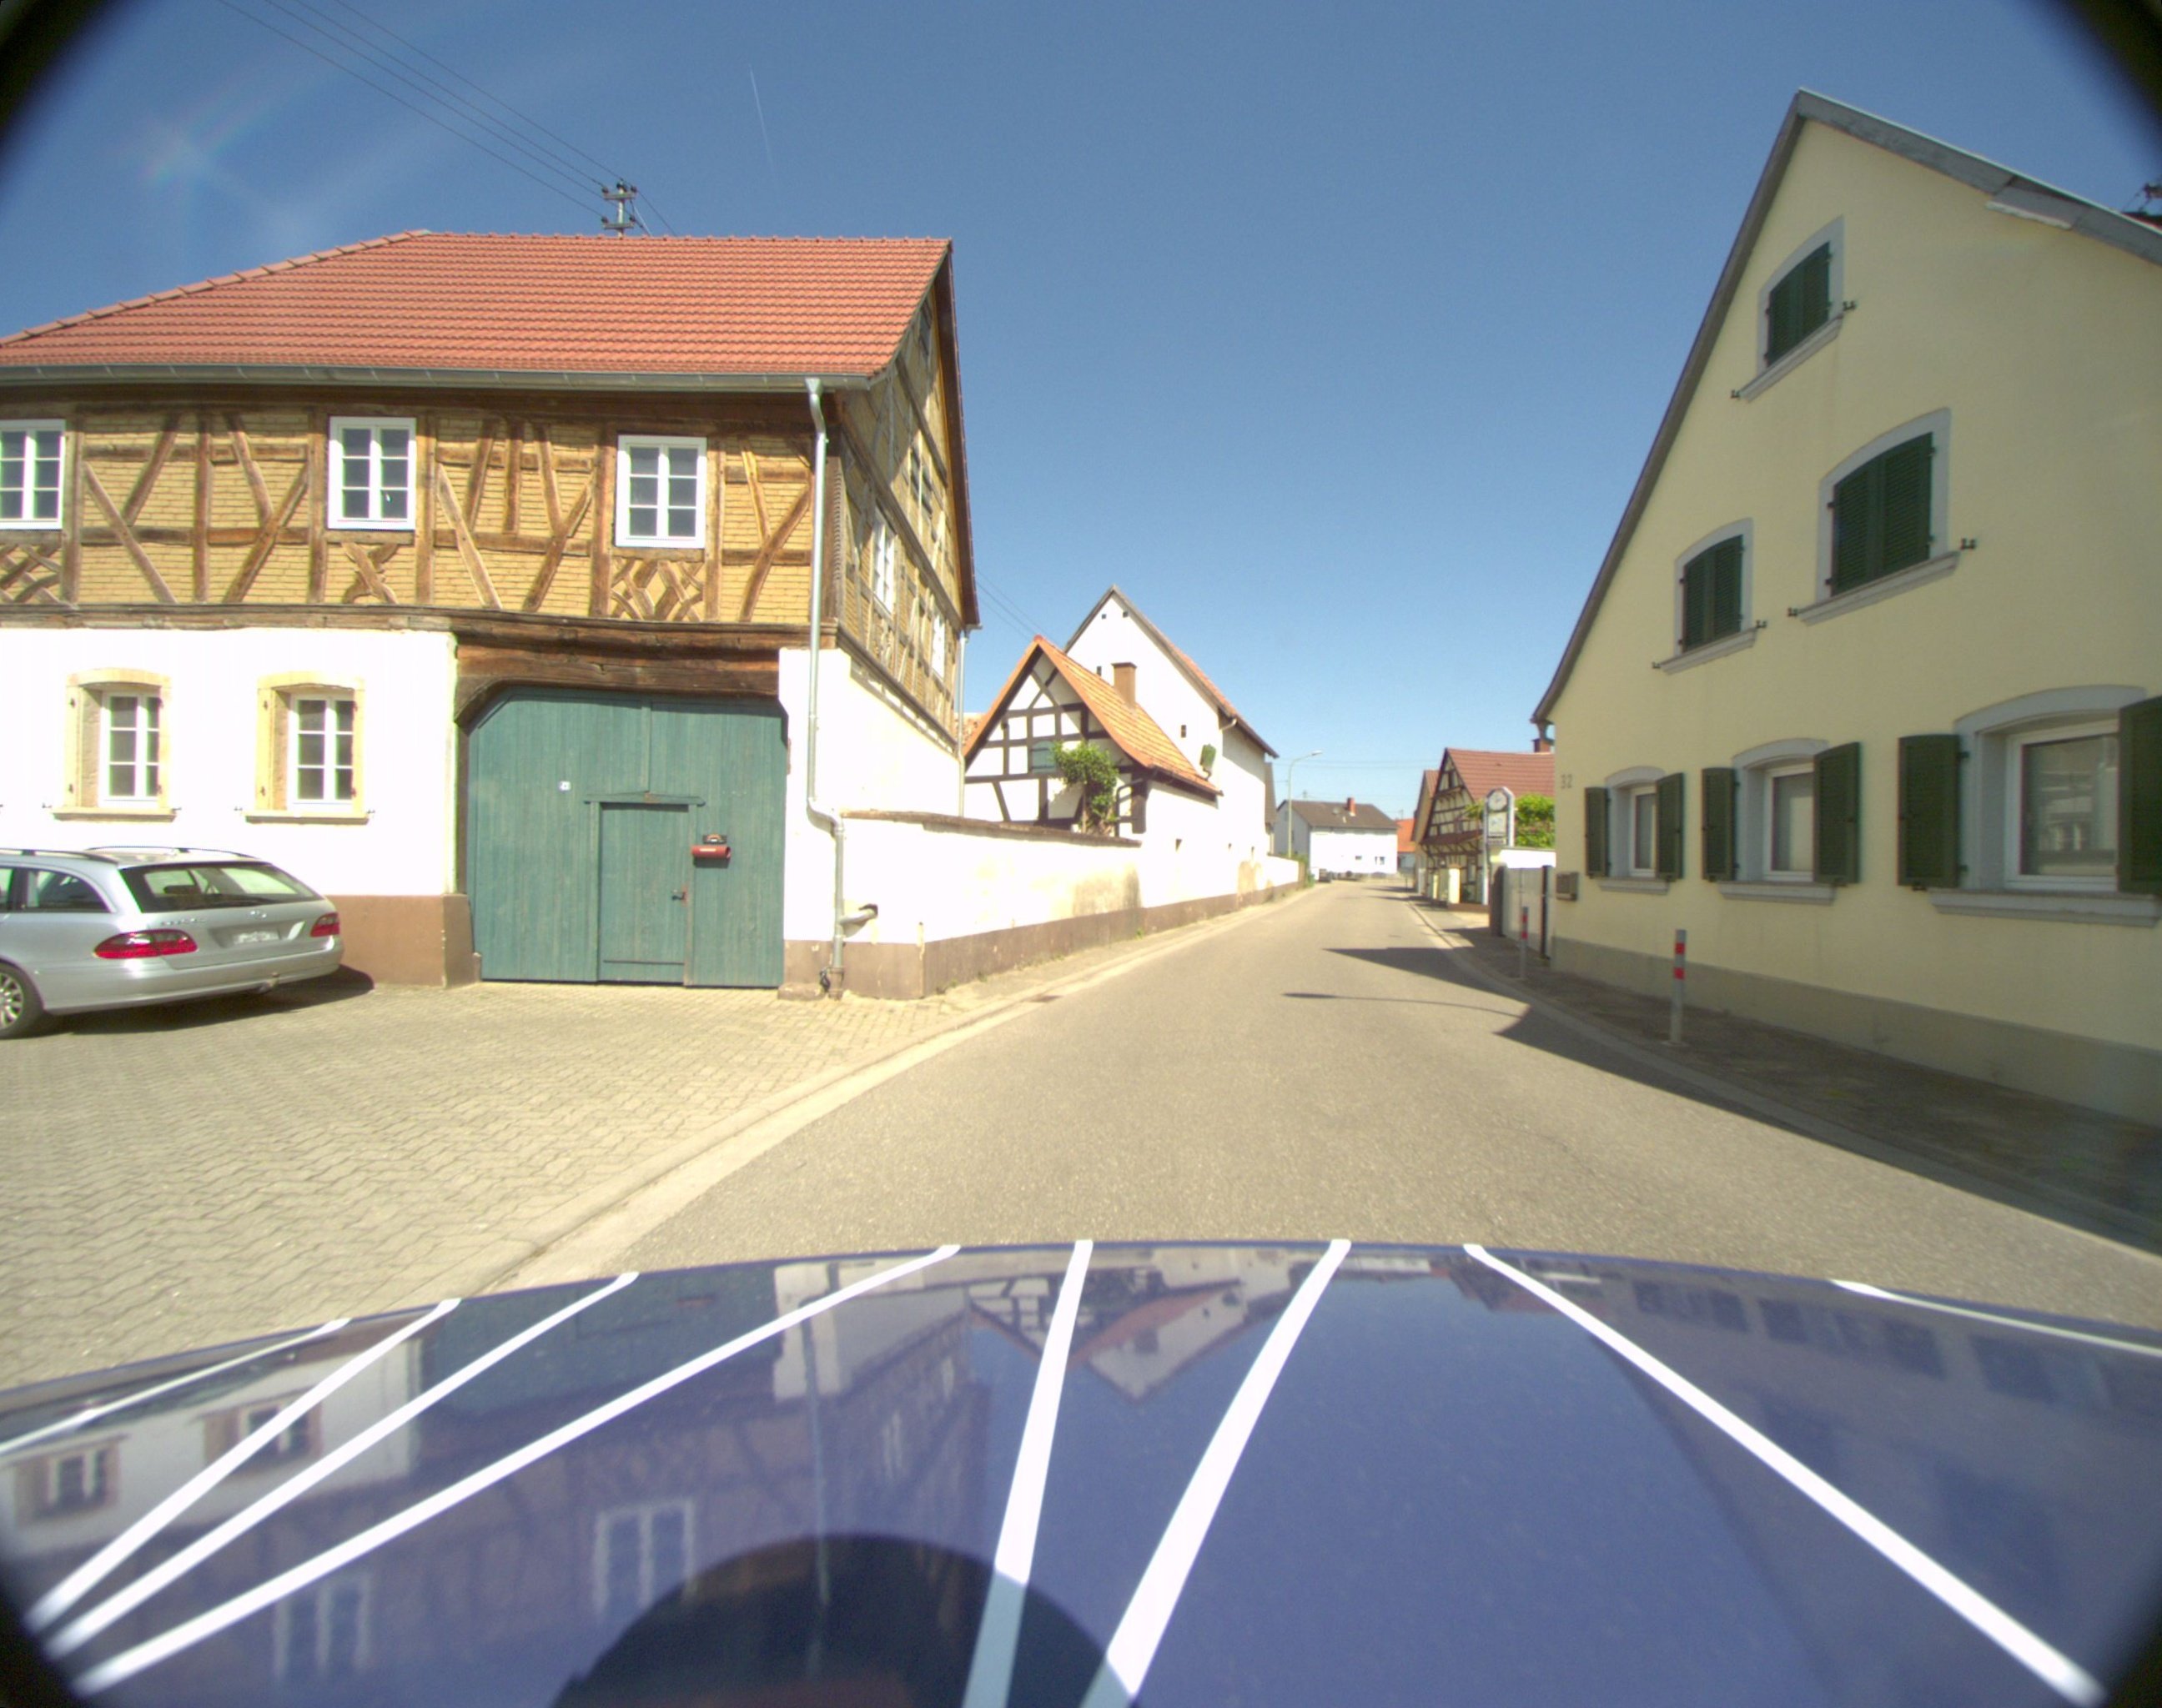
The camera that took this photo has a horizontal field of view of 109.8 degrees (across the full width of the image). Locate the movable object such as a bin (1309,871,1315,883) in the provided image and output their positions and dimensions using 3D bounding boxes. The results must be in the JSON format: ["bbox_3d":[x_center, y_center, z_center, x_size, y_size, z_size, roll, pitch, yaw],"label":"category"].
[{"bbox_3d":[20.145,1.989,66.206,0.504,0.971,0.433,1,1,21],"label":"movable object such as a bin"}]

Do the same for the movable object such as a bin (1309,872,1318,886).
[{"bbox_3d":[17.128,1.832,55.990,0.551,0.971,0.432,1,0,-4],"label":"movable object such as a bin"}]

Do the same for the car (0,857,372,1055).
[{"bbox_3d":[-9.514,0.790,6.666,4.763,1.443,2.000,-1,0,2],"label":"car"}]
